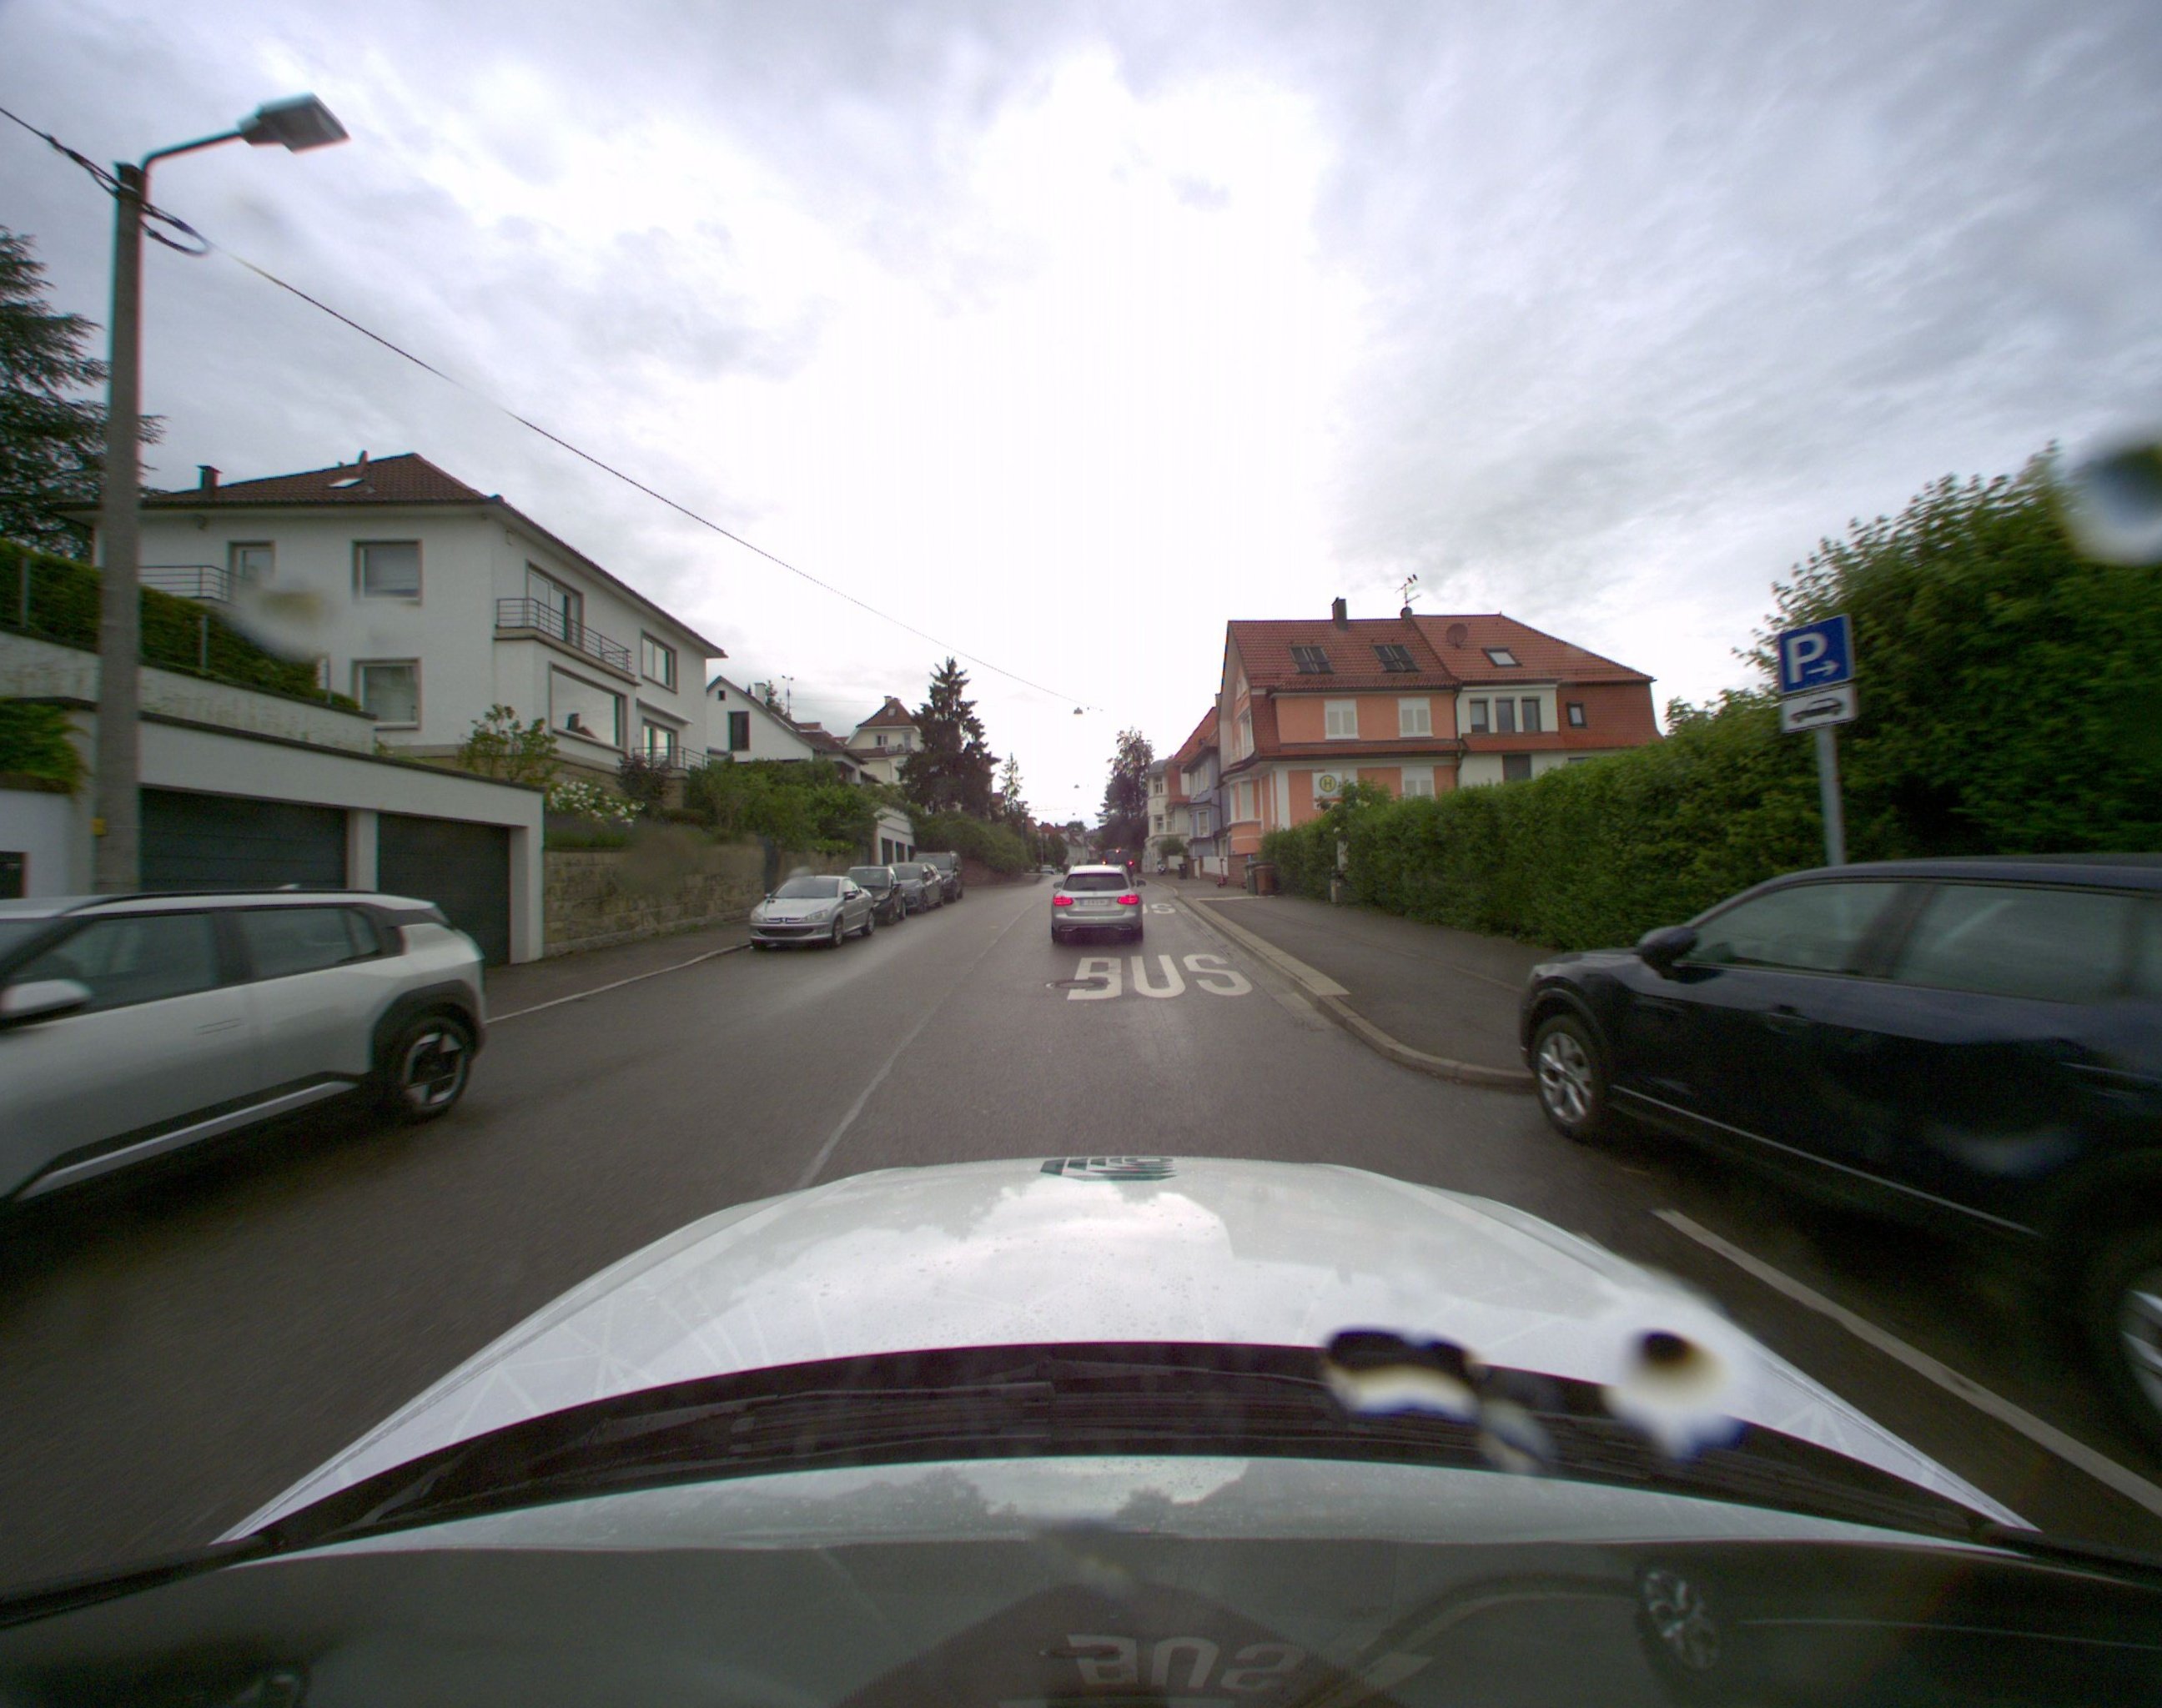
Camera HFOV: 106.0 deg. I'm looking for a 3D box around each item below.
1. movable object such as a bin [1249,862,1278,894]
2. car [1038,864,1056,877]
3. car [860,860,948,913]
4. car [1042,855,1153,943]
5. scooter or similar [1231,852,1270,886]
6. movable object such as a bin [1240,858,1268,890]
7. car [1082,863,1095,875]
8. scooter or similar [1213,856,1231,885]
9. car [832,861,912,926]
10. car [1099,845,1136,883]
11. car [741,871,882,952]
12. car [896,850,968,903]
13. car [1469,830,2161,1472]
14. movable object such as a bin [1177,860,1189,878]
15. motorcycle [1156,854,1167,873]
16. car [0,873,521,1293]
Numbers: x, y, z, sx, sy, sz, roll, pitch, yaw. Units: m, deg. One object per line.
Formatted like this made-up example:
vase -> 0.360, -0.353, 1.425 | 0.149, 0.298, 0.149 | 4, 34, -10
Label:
movable object such as a bin -> 5.729, 0.737, 25.605 | 0.573, 0.969, 0.663 | 0, 0, -33
car -> -4.418, 2.146, 105.840 | 2.111, 1.471, 4.015 | -2, 0, -1
car -> -5.601, 0.982, 26.306 | 1.892, 1.515, 4.341 | -1, 0, 0
car -> 0.346, 0.813, 16.916 | 1.975, 1.553, 4.299 | -1, 0, 1
scooter or similar -> 6.599, 0.575, 31.776 | 1.245, 1.224, 0.699 | -5, -2, 32
movable object such as a bin -> 5.863, 0.675, 27.557 | 0.709, 1.030, 0.757 | -4, 0, -2
car -> 1.639, 3.338, 179.485 | 2.457, 2.399, 4.002 | -5, 0, 2
scooter or similar -> 6.126, 0.707, 35.511 | 0.689, 1.224, 1.302 | -2, 0, 8
car -> -5.513, 0.996, 21.788 | 1.494, 1.524, 3.154 | -2, 0, -4
car -> 1.965, 0.495, 44.035 | 1.817, 1.882, 4.098 | -3, 0, 2
car -> -5.423, 1.097, 16.876 | 1.604, 1.337, 3.840 | -2, 0, 0
car -> -5.768, 0.807, 32.265 | 2.125, 1.860, 5.586 | -1, 0, -4
car -> 3.419, 0.694, 3.164 | 1.749, 1.530, 4.204 | -1, 0, -1
movable object such as a bin -> 5.898, 0.867, 47.186 | 0.547, 0.936, 0.634 | -5, 0, 0
motorcycle -> 5.639, 0.652, 56.938 | 0.579, 1.261, 2.333 | -4, 0, 3
car -> -5.209, 0.979, 4.015 | 1.892, 1.567, 4.237 | -3, 0, 0
